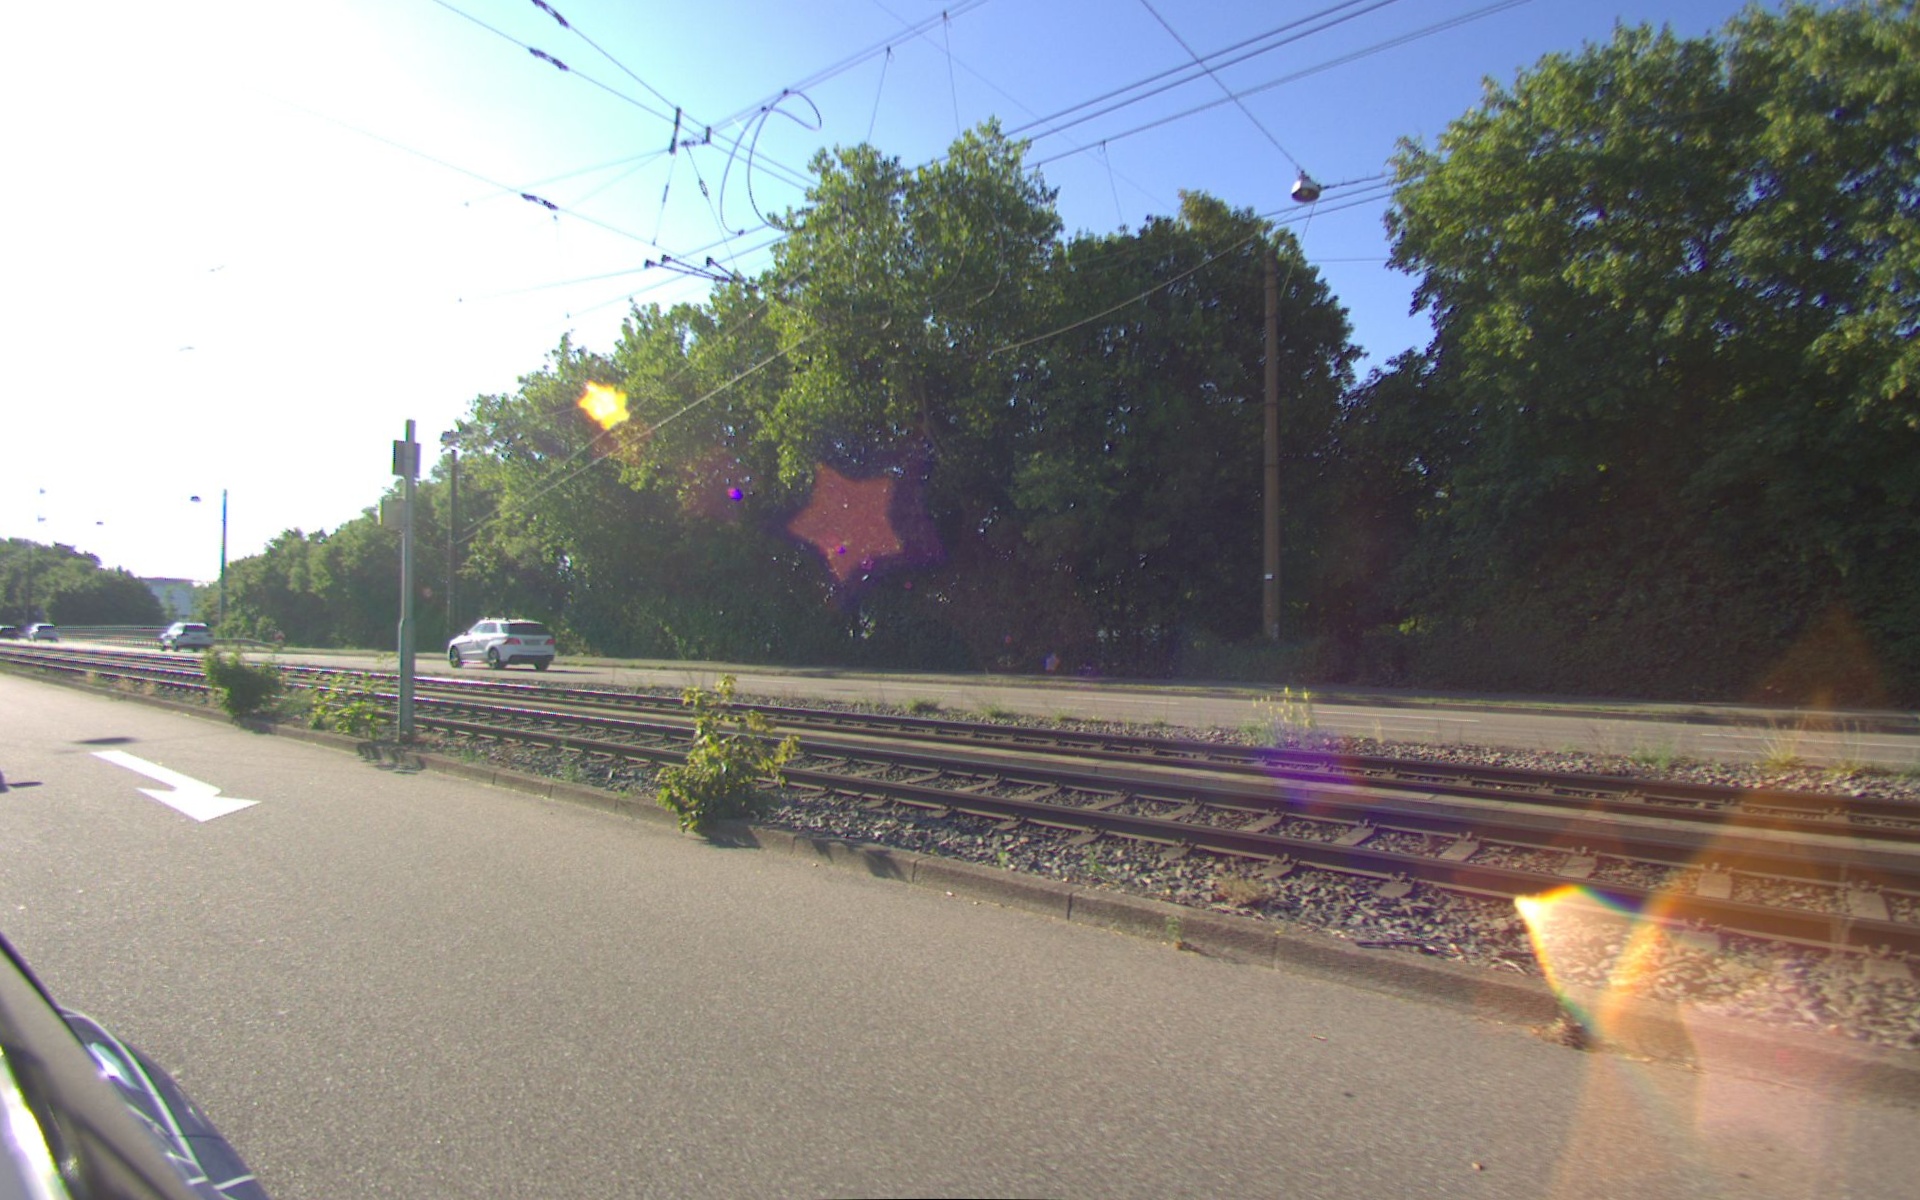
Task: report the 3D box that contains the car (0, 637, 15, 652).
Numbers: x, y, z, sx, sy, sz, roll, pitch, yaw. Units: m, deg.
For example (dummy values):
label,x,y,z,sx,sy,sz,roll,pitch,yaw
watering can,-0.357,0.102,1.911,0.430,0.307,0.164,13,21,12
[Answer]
label,x,y,z,sx,sy,sz,roll,pitch,yaw
car,-98.639,4.545,104.066,4.499,1.443,1.640,-1,-4,41

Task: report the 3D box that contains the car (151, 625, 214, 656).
label,x,y,z,sx,sy,sz,roll,pitch,yaw
car,-47.612,2.470,61.917,4.925,1.747,1.828,-1,-4,38

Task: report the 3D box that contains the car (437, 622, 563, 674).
label,x,y,z,sx,sy,sz,roll,pitch,yaw
car,-16.265,1.676,35.701,4.937,1.720,1.944,-1,-4,38

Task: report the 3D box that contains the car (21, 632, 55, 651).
label,x,y,z,sx,sy,sz,roll,pitch,yaw
car,-83.959,3.769,92.167,4.187,1.568,1.674,-1,-4,40
